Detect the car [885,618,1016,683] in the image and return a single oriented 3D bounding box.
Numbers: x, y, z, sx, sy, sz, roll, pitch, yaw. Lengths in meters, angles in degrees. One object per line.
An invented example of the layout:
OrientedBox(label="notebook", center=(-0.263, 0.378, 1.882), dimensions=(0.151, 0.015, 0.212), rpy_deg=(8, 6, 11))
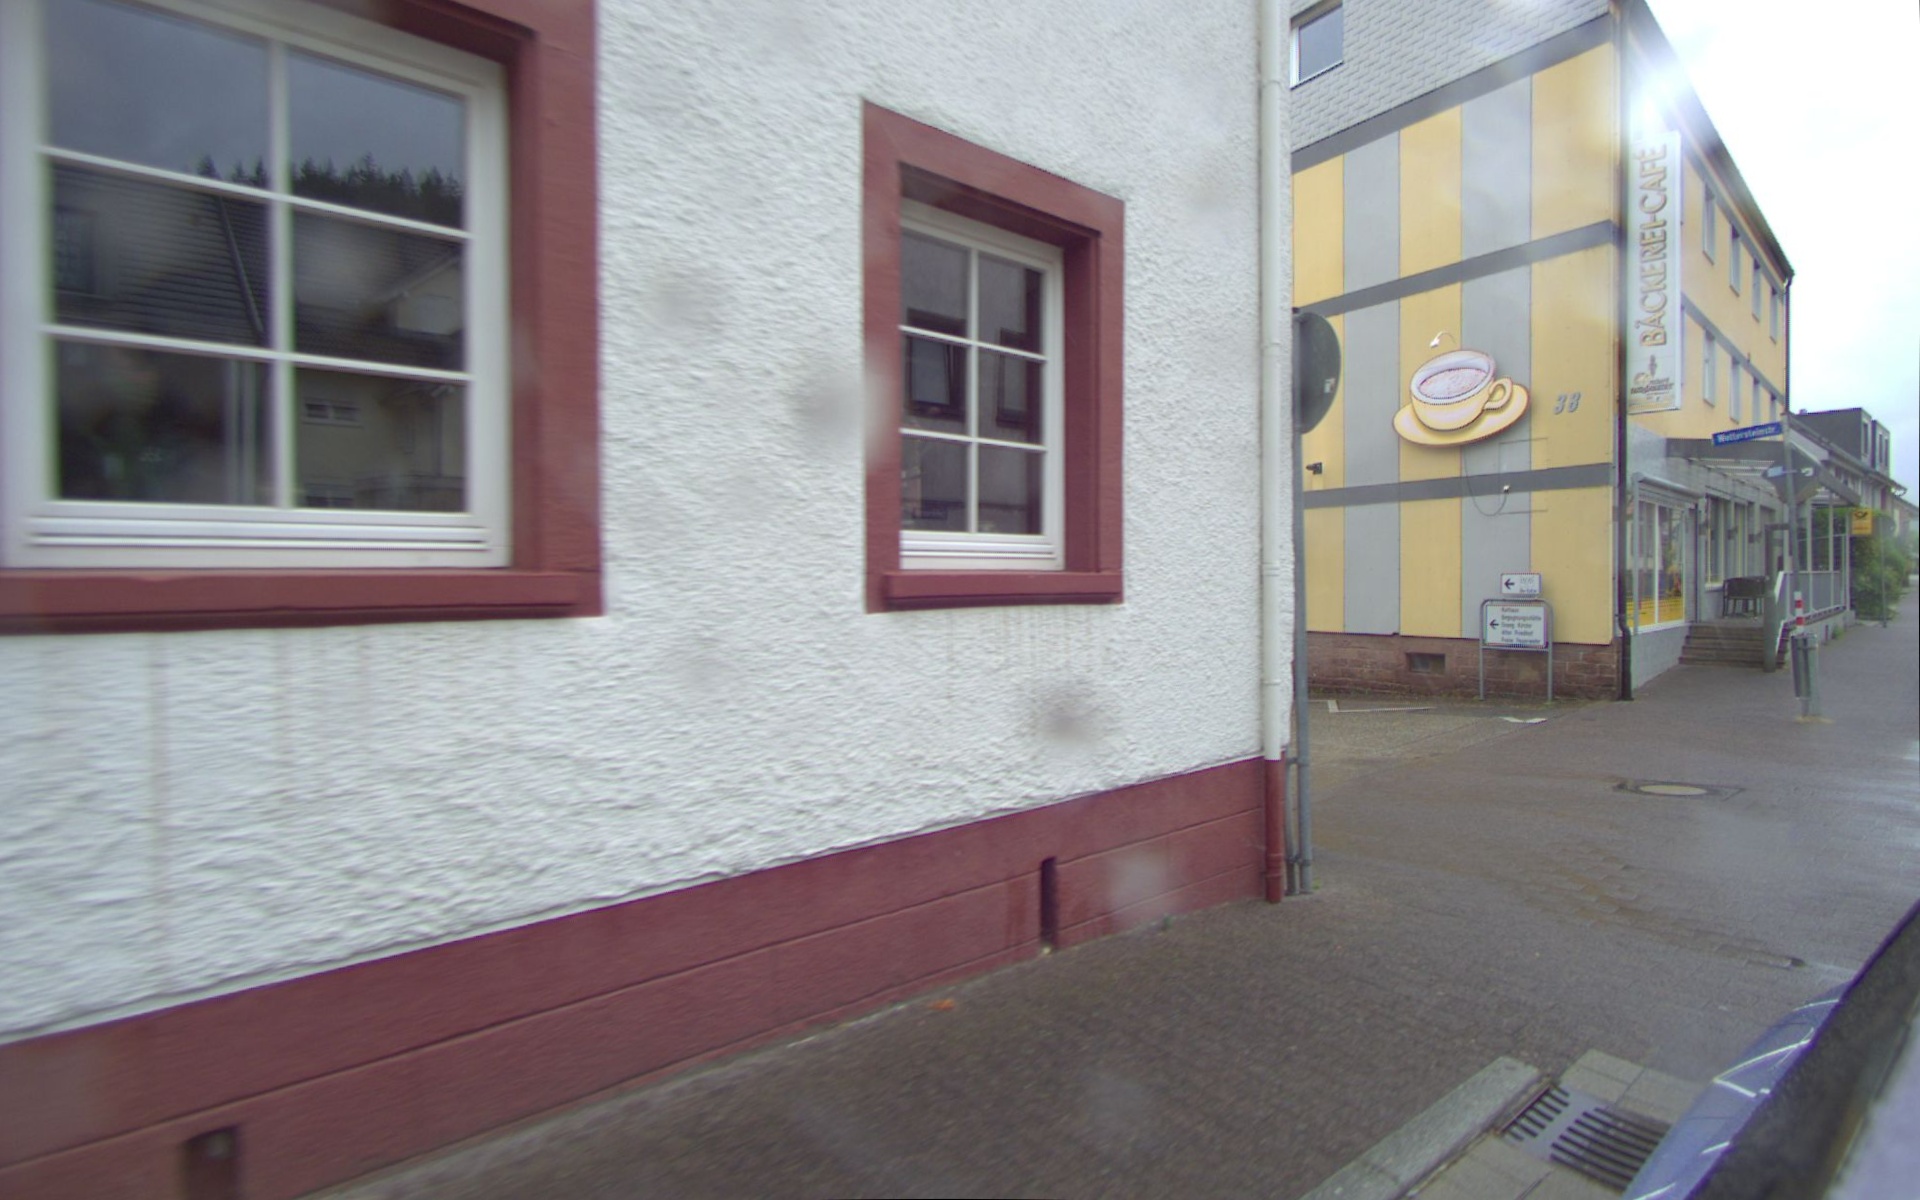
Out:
OrientedBox(label="car", center=(-0.344, 1.295, 27.216), dimensions=(1.817, 1.478, 4.024), rpy_deg=(-4, 0, -27))

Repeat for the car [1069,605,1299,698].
OrientedBox(label="car", center=(4.096, 0.971, 19.215), dimensions=(1.741, 1.479, 4.197), rpy_deg=(-3, -1, -32))

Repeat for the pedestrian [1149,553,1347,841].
OrientedBox(label="pedestrian", center=(1.925, 0.598, 6.788), dimensions=(0.977, 1.758, 0.812), rpy_deg=(1, -1, -30))
